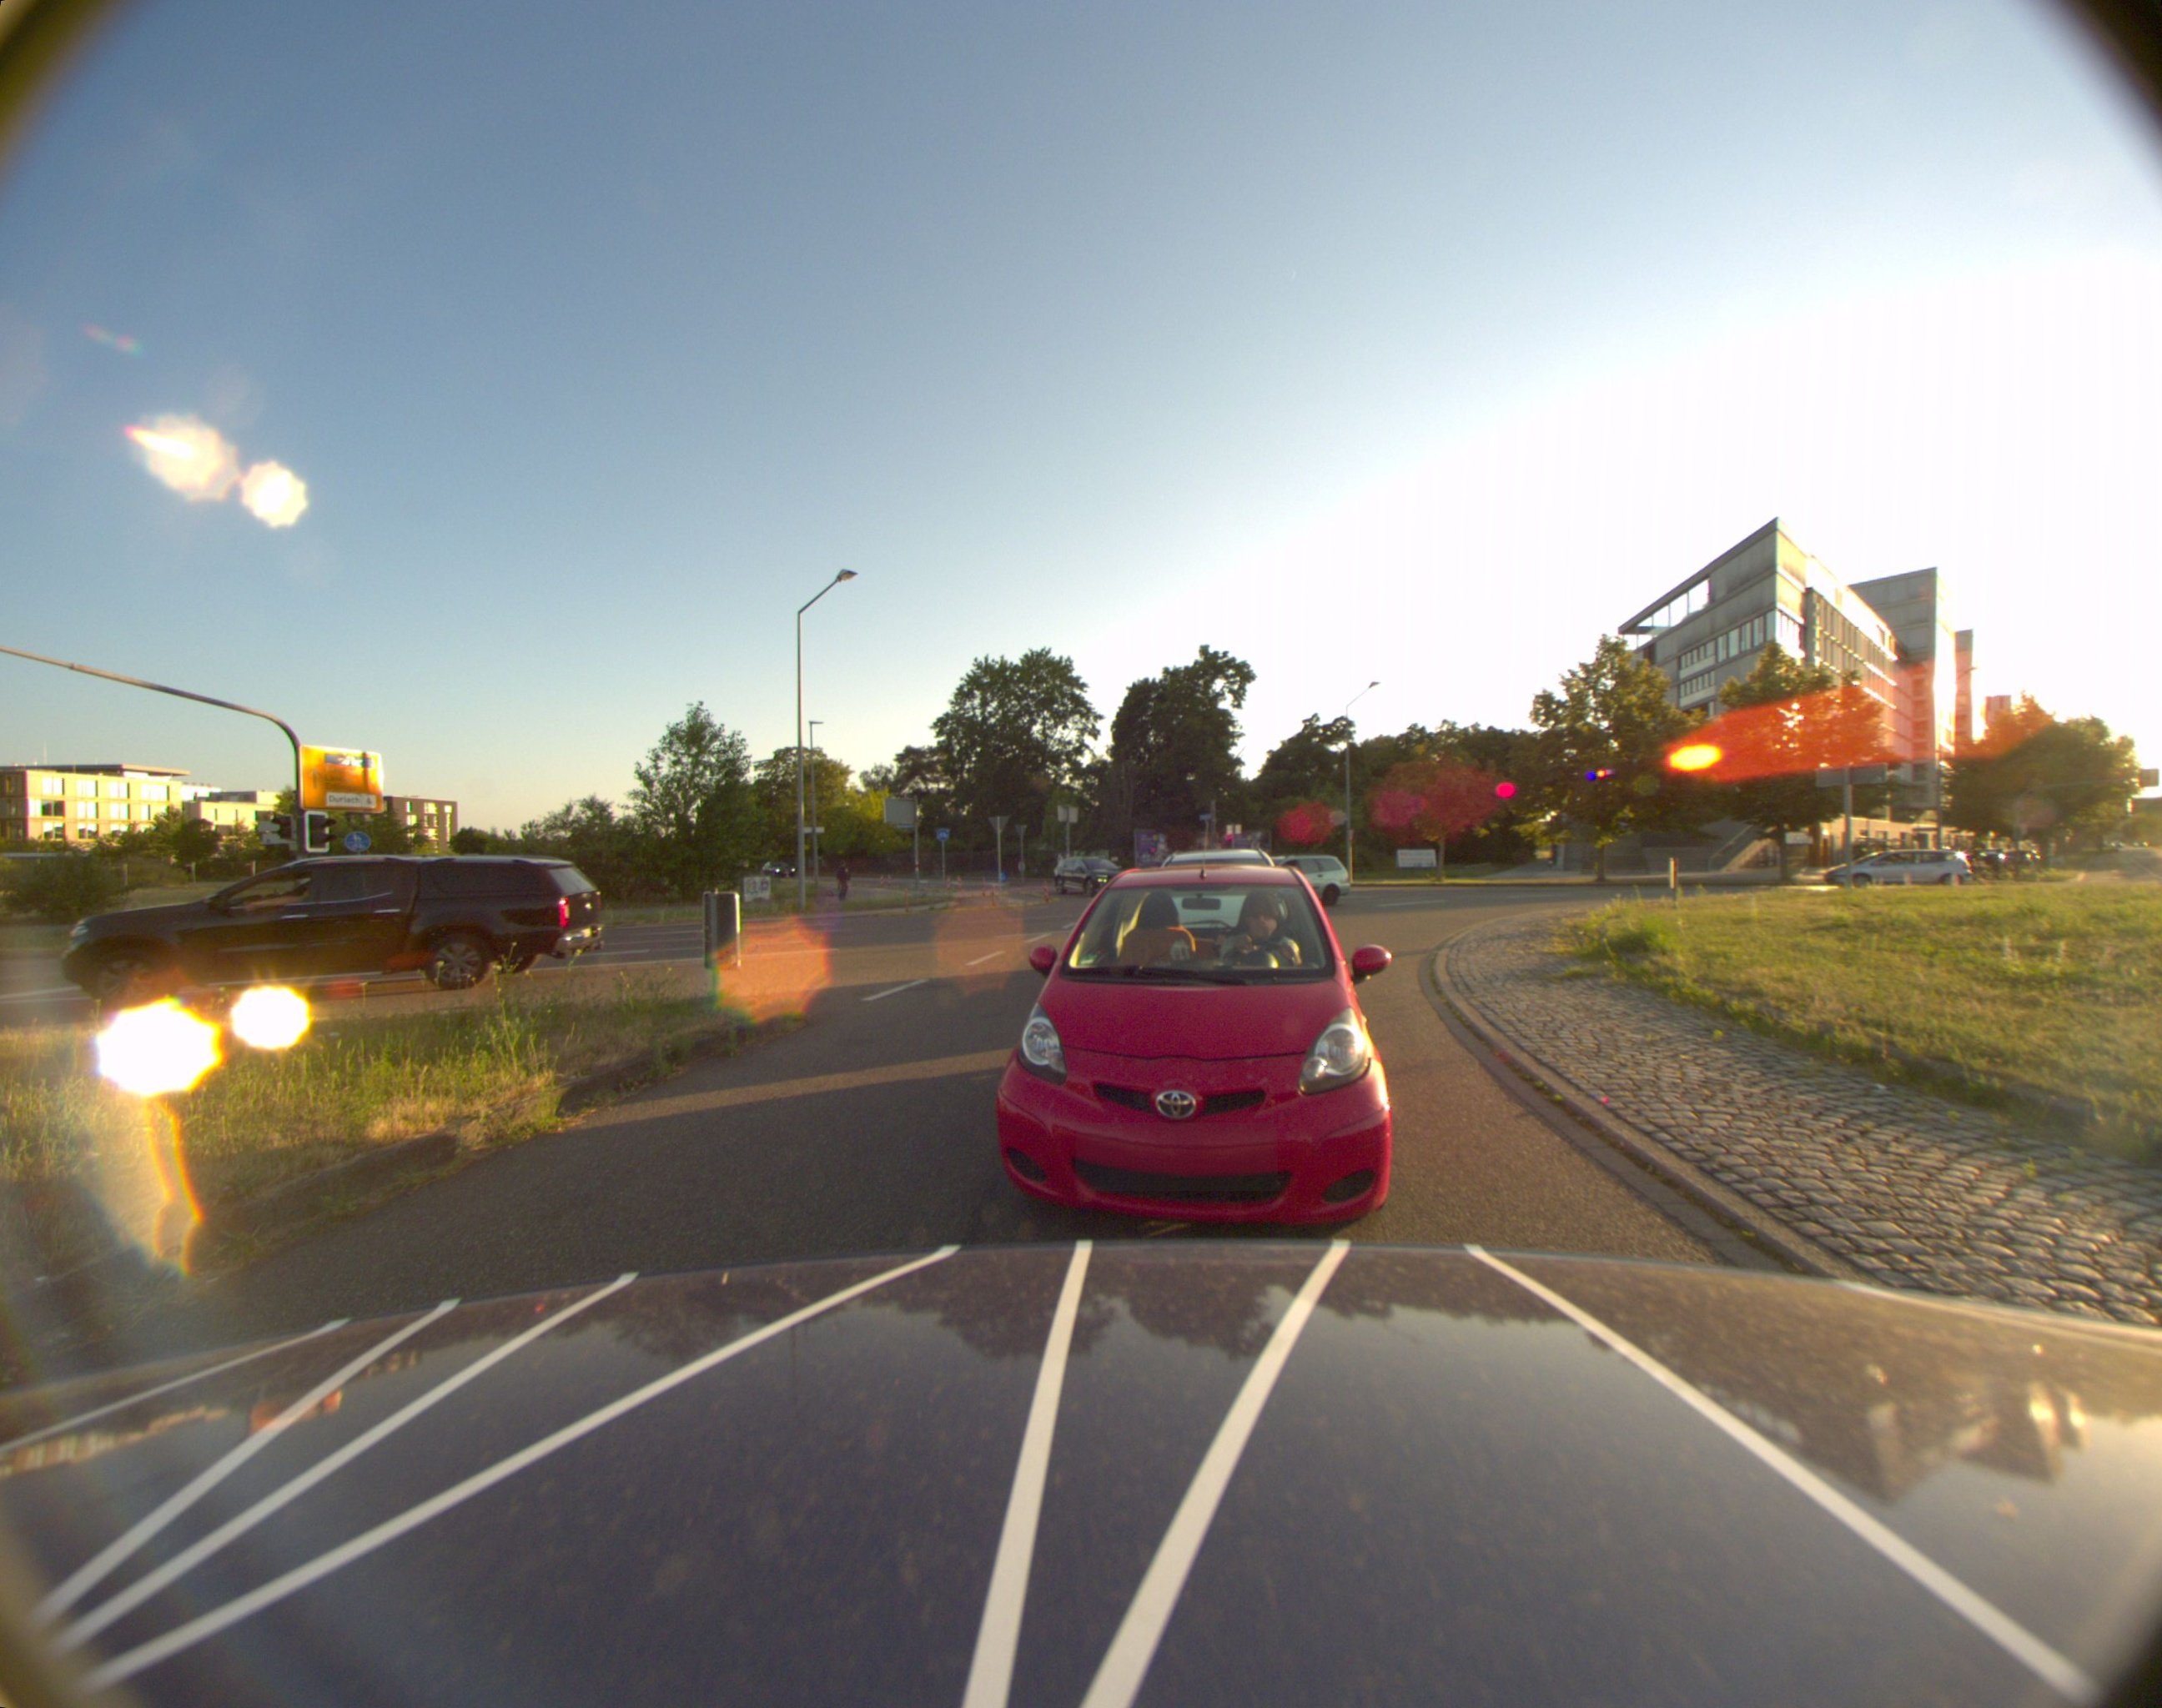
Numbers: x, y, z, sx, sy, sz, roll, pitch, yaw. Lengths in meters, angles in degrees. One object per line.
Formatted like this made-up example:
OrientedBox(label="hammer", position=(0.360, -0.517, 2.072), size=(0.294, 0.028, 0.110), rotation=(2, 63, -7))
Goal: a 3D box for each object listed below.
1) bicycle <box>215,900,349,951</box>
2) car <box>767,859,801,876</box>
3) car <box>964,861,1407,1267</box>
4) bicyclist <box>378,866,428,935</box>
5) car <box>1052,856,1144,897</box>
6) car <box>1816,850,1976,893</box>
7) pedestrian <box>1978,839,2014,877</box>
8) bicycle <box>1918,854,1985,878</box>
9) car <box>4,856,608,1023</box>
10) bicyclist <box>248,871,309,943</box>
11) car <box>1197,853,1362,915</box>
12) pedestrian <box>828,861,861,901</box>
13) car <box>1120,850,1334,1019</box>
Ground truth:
OrientedBox(label="bicycle", position=(-19.278, 1.698, 18.402), size=(0.708, 0.958, 2.109), rotation=(-1, 2, 14))
OrientedBox(label="car", position=(-27.107, 1.204, 69.365), size=(2.003, 1.477, 3.990), rotation=(-1, 0, -35))
OrientedBox(label="car", position=(0.811, 0.797, 4.893), size=(1.687, 1.412, 4.004), rotation=(-1, 0, 13))
OrientedBox(label="bicyclist", position=(-17.151, 1.165, 19.222), size=(0.723, 1.680, 0.690), rotation=(-1, 1, 28))
OrientedBox(label="car", position=(0.635, 0.885, 32.061), size=(2.003, 1.588, 4.304), rotation=(-1, 0, -28))
OrientedBox(label="car", position=(31.858, 0.680, 29.886), size=(3.882, 1.571, 1.958), rotation=(-1, 0, 29))
OrientedBox(label="pedestrian", position=(49.362, 0.195, 40.994), size=(0.776, 2.002, 0.998), rotation=(-2, 1, -11))
OrientedBox(label="bicycle", position=(47.082, 0.627, 41.123), size=(0.744, 1.237, 2.341), rotation=(-2, 1, -41))
OrientedBox(label="car", position=(-9.668, 0.956, 10.164), size=(5.310, 1.802, 1.997), rotation=(0, 0, -18))
OrientedBox(label="bicyclist", position=(-19.336, 1.257, 18.315), size=(0.724, 1.680, 0.690), rotation=(-1, 1, 12))
OrientedBox(label="car", position=(5.740, 0.790, 21.837), size=(4.575, 1.550, 1.829), rotation=(-1, 1, -29))
OrientedBox(label="pedestrian", position=(-9.552, 1.075, 30.639), size=(0.994, 1.581, 0.924), rotation=(-2, 1, -36))
OrientedBox(label="car", position=(1.655, 0.770, 9.386), size=(1.997, 1.597, 4.200), rotation=(-1, 0, 7))
